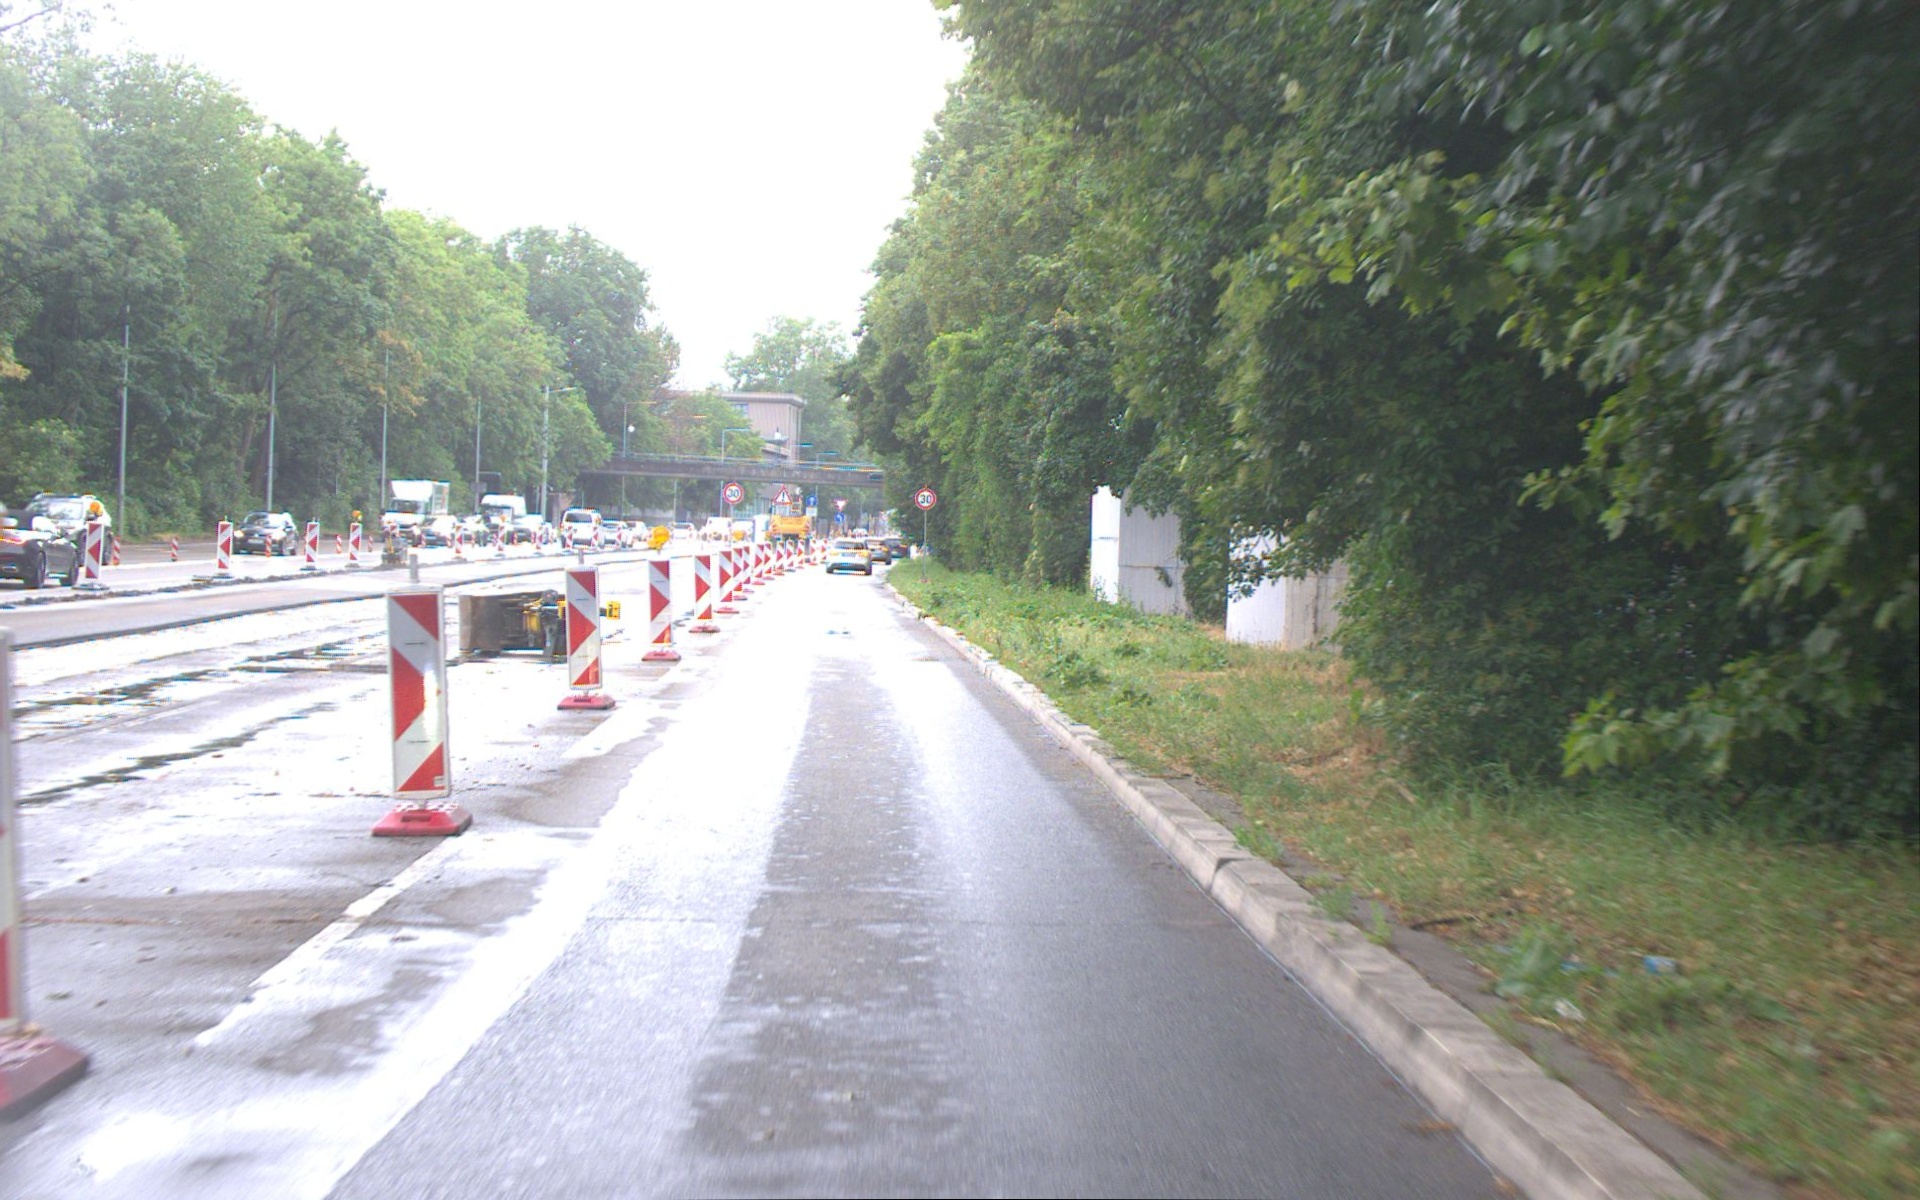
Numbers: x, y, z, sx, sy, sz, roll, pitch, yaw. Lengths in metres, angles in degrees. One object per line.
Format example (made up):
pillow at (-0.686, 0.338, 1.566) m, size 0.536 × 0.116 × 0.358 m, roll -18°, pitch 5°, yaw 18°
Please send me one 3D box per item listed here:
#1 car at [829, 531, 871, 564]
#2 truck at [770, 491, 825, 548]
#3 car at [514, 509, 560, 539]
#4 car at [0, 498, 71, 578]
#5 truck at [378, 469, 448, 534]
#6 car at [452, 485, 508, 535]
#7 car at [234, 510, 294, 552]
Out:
car at (-4.454, -2.137, 139.564) m, size 1.697 × 1.331 × 3.491 m, roll 0°, pitch 1°, yaw -2°
truck at (-10.362, -5.161, 220.336) m, size 3.259 × 3.485 × 13.872 m, roll 2°, pitch 1°, yaw -2°
car at (-22.433, -4.041, 182.457) m, size 1.959 × 1.526 × 4.437 m, roll 2°, pitch 1°, yaw -1°
car at (-17.436, -1.154, 62.462) m, size 1.607 × 1.399 × 4.041 m, roll 2°, pitch 1°, yaw -2°
truck at (-26.058, -4.674, 163.953) m, size 2.246 × 2.930 × 6.936 m, roll 2°, pitch 1°, yaw -1°
car at (-26.074, -4.872, 186.935) m, size 2.099 × 2.571 × 6.854 m, roll 2°, pitch 1°, yaw -1°
car at (-22.912, -2.266, 113.250) m, size 1.447 × 1.327 × 3.862 m, roll 2°, pitch 1°, yaw -4°
